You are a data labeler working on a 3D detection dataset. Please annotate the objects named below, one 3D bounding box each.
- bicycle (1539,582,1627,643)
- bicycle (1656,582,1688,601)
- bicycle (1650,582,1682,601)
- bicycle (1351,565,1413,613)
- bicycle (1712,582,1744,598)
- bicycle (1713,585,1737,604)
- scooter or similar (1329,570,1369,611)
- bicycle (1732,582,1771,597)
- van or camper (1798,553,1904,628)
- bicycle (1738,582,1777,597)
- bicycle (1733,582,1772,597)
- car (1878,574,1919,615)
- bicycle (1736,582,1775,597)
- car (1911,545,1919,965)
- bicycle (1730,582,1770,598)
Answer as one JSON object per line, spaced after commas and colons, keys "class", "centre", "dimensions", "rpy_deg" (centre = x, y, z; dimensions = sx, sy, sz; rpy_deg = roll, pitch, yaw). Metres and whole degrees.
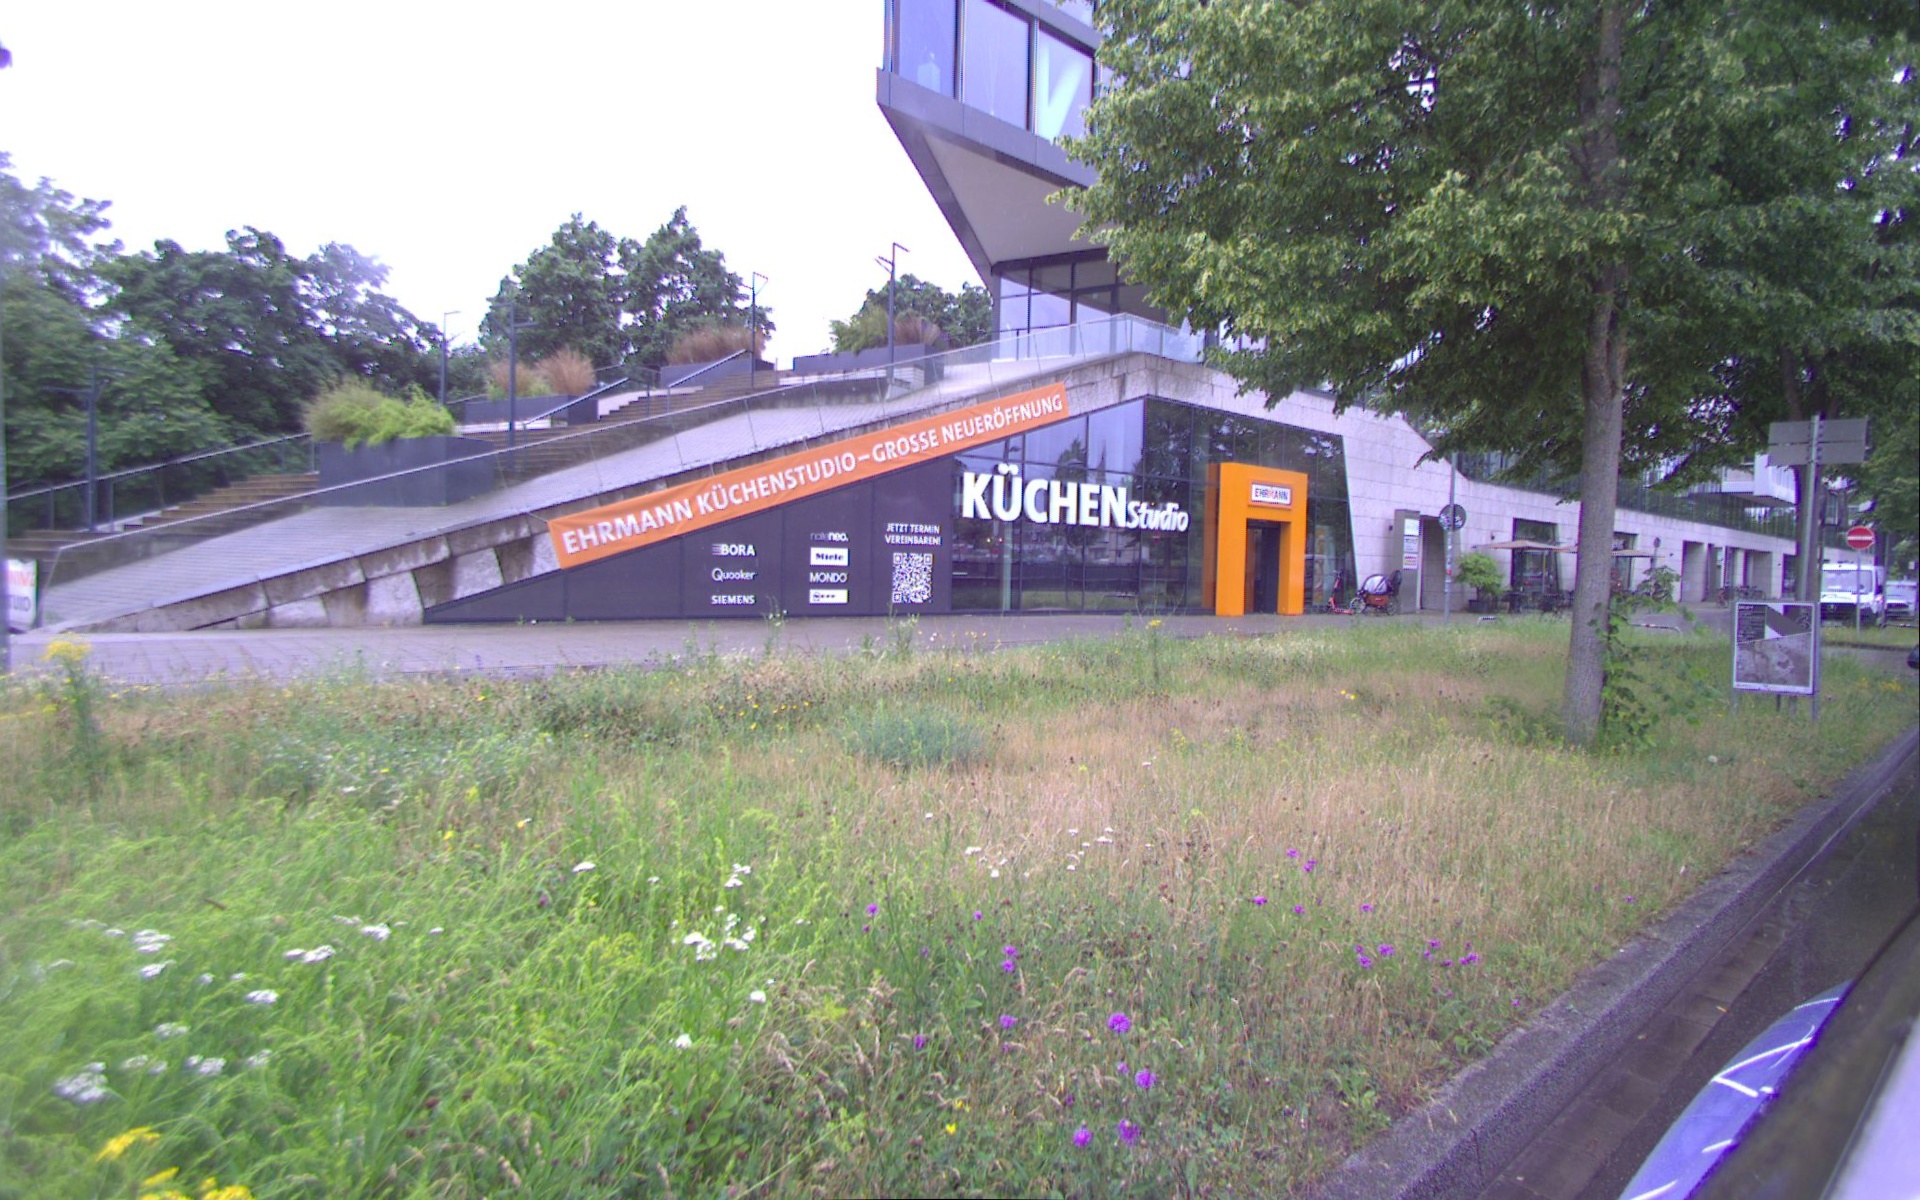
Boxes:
{"class": "bicycle", "centre": [14.584, 0.279, 23.751], "dimensions": [0.521, 1.363, 1.852], "rpy_deg": [2, 1, -16]}
{"class": "bicycle", "centre": [37.242, -0.460, 52.961], "dimensions": [0.388, 0.958, 2.028], "rpy_deg": [-1, 1, 4]}
{"class": "bicycle", "centre": [36.613, -0.445, 52.503], "dimensions": [0.388, 0.958, 2.028], "rpy_deg": [-1, 1, 4]}
{"class": "bicycle", "centre": [13.222, -0.349, 31.675], "dimensions": [2.382, 1.419, 0.734], "rpy_deg": [0, 3, -41]}
{"class": "bicycle", "centre": [49.478, -0.664, 65.184], "dimensions": [0.339, 0.957, 1.665], "rpy_deg": [0, 3, -22]}
{"class": "bicycle", "centre": [39.607, -0.296, 52.365], "dimensions": [1.823, 0.957, 0.403], "rpy_deg": [-1, 2, -34]}
{"class": "scooter or similar", "centre": [11.803, -0.294, 30.707], "dimensions": [1.214, 1.243, 0.343], "rpy_deg": [-1, 0, -22]}
{"class": "bicycle", "centre": [53.067, -0.706, 67.884], "dimensions": [0.389, 0.957, 2.025], "rpy_deg": [-1, 4, -45]}
{"class": "van or camper", "centre": [29.613, -0.362, 33.574], "dimensions": [5.367, 2.320, 2.028], "rpy_deg": [-1, 2, -42]}
{"class": "bicycle", "centre": [54.791, -0.743, 69.553], "dimensions": [0.389, 0.957, 2.025], "rpy_deg": [-1, 4, -45]}
{"class": "bicycle", "centre": [53.493, -0.714, 68.307], "dimensions": [0.389, 0.957, 2.025], "rpy_deg": [-1, 4, -45]}
{"class": "car", "centre": [43.275, -0.282, 46.053], "dimensions": [4.766, 1.781, 1.744], "rpy_deg": [-1, 2, -42]}
{"class": "bicycle", "centre": [53.940, -0.731, 68.665], "dimensions": [0.389, 0.957, 2.025], "rpy_deg": [-1, 4, -45]}
{"class": "car", "centre": [5.785, 0.566, 4.538], "dimensions": [3.930, 1.632, 1.814], "rpy_deg": [-1, 1, -41]}
{"class": "bicycle", "centre": [52.607, -0.696, 67.390], "dimensions": [0.389, 0.957, 2.025], "rpy_deg": [-1, 4, -45]}
